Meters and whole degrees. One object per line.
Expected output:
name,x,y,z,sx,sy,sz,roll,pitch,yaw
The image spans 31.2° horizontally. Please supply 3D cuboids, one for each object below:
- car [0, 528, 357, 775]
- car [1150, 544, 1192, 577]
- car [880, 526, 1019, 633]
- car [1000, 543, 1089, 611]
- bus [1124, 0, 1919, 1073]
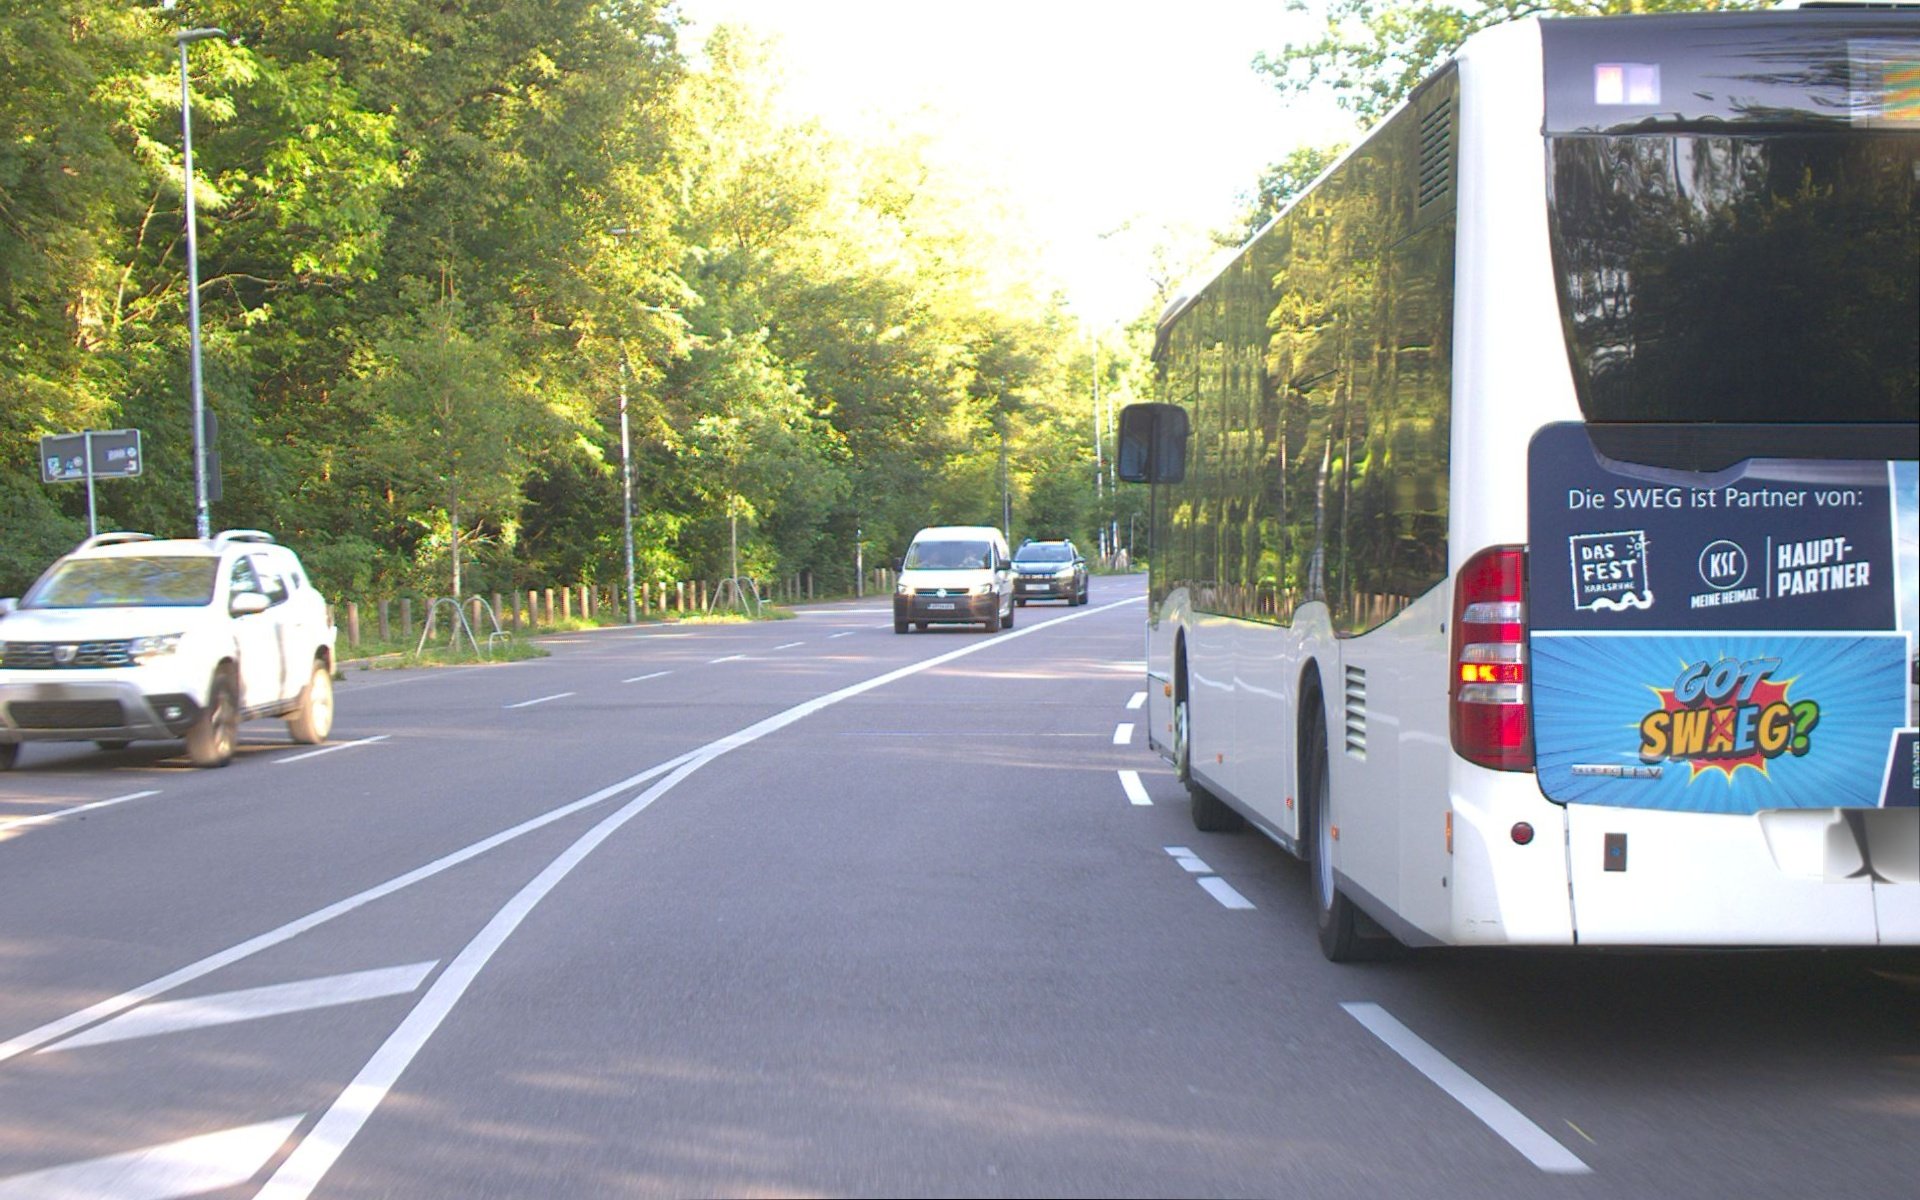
car,-5.992,0.316,25.478,1.994,1.653,4.448,-1,1,3
car,9.327,-1.757,152.063,1.823,1.457,4.925,0,1,3
car,-0.138,-0.381,59.431,1.906,1.750,4.799,-1,1,5
car,2.049,-0.573,82.173,1.805,1.539,4.089,-1,1,6
bus,2.448,-0.400,15.355,2.704,3.211,12.279,0,1,-1
